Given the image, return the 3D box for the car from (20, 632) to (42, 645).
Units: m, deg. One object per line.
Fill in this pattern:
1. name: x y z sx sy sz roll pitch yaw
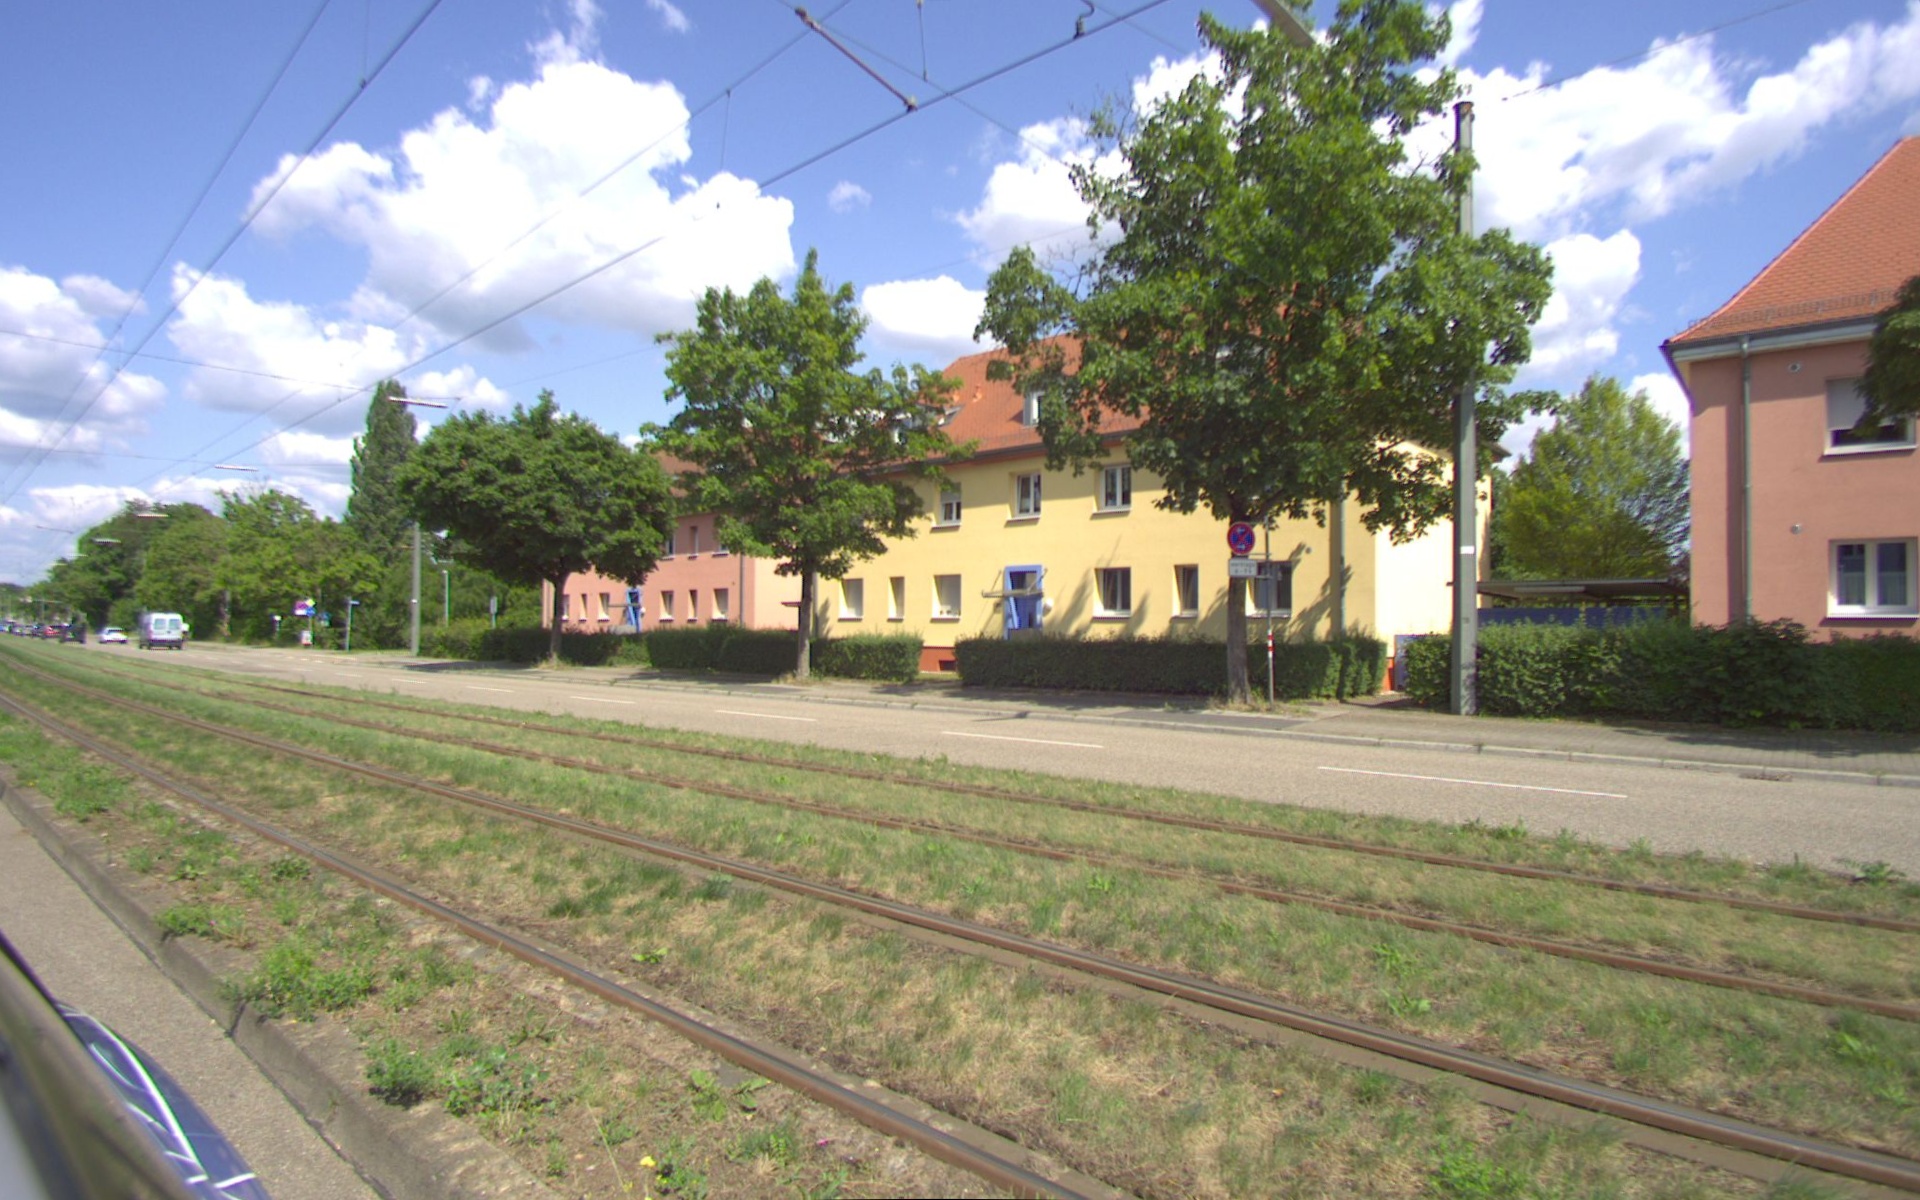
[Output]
1. car: -107.565 4.444 117.133 1.707 1.405 4.279 2 -3 -45

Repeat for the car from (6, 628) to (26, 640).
1. car: -130.900 4.733 140.324 1.895 1.664 4.279 2 -3 -45

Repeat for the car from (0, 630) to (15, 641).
1. car: -142.996 5.339 151.476 2.091 1.664 4.279 2 -3 -45

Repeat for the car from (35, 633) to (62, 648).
1. car: -95.027 4.219 105.499 4.276 1.591 1.708 -2 -3 43

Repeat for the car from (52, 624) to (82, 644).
1. car: -79.788 3.018 90.385 4.228 1.760 1.667 -2 -3 44

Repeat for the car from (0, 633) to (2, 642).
1. car: -179.014 6.947 187.527 2.091 1.664 4.279 2 -3 -45

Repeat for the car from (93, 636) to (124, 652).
1. car: -77.723 3.970 92.359 4.277 1.442 1.667 -2 -3 44

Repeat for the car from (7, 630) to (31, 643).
1. car: -120.617 4.683 129.651 2.091 1.664 4.279 2 -3 -45

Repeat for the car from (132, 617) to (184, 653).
1. car: -57.044 2.500 71.949 5.779 2.455 2.009 -2 -4 44
